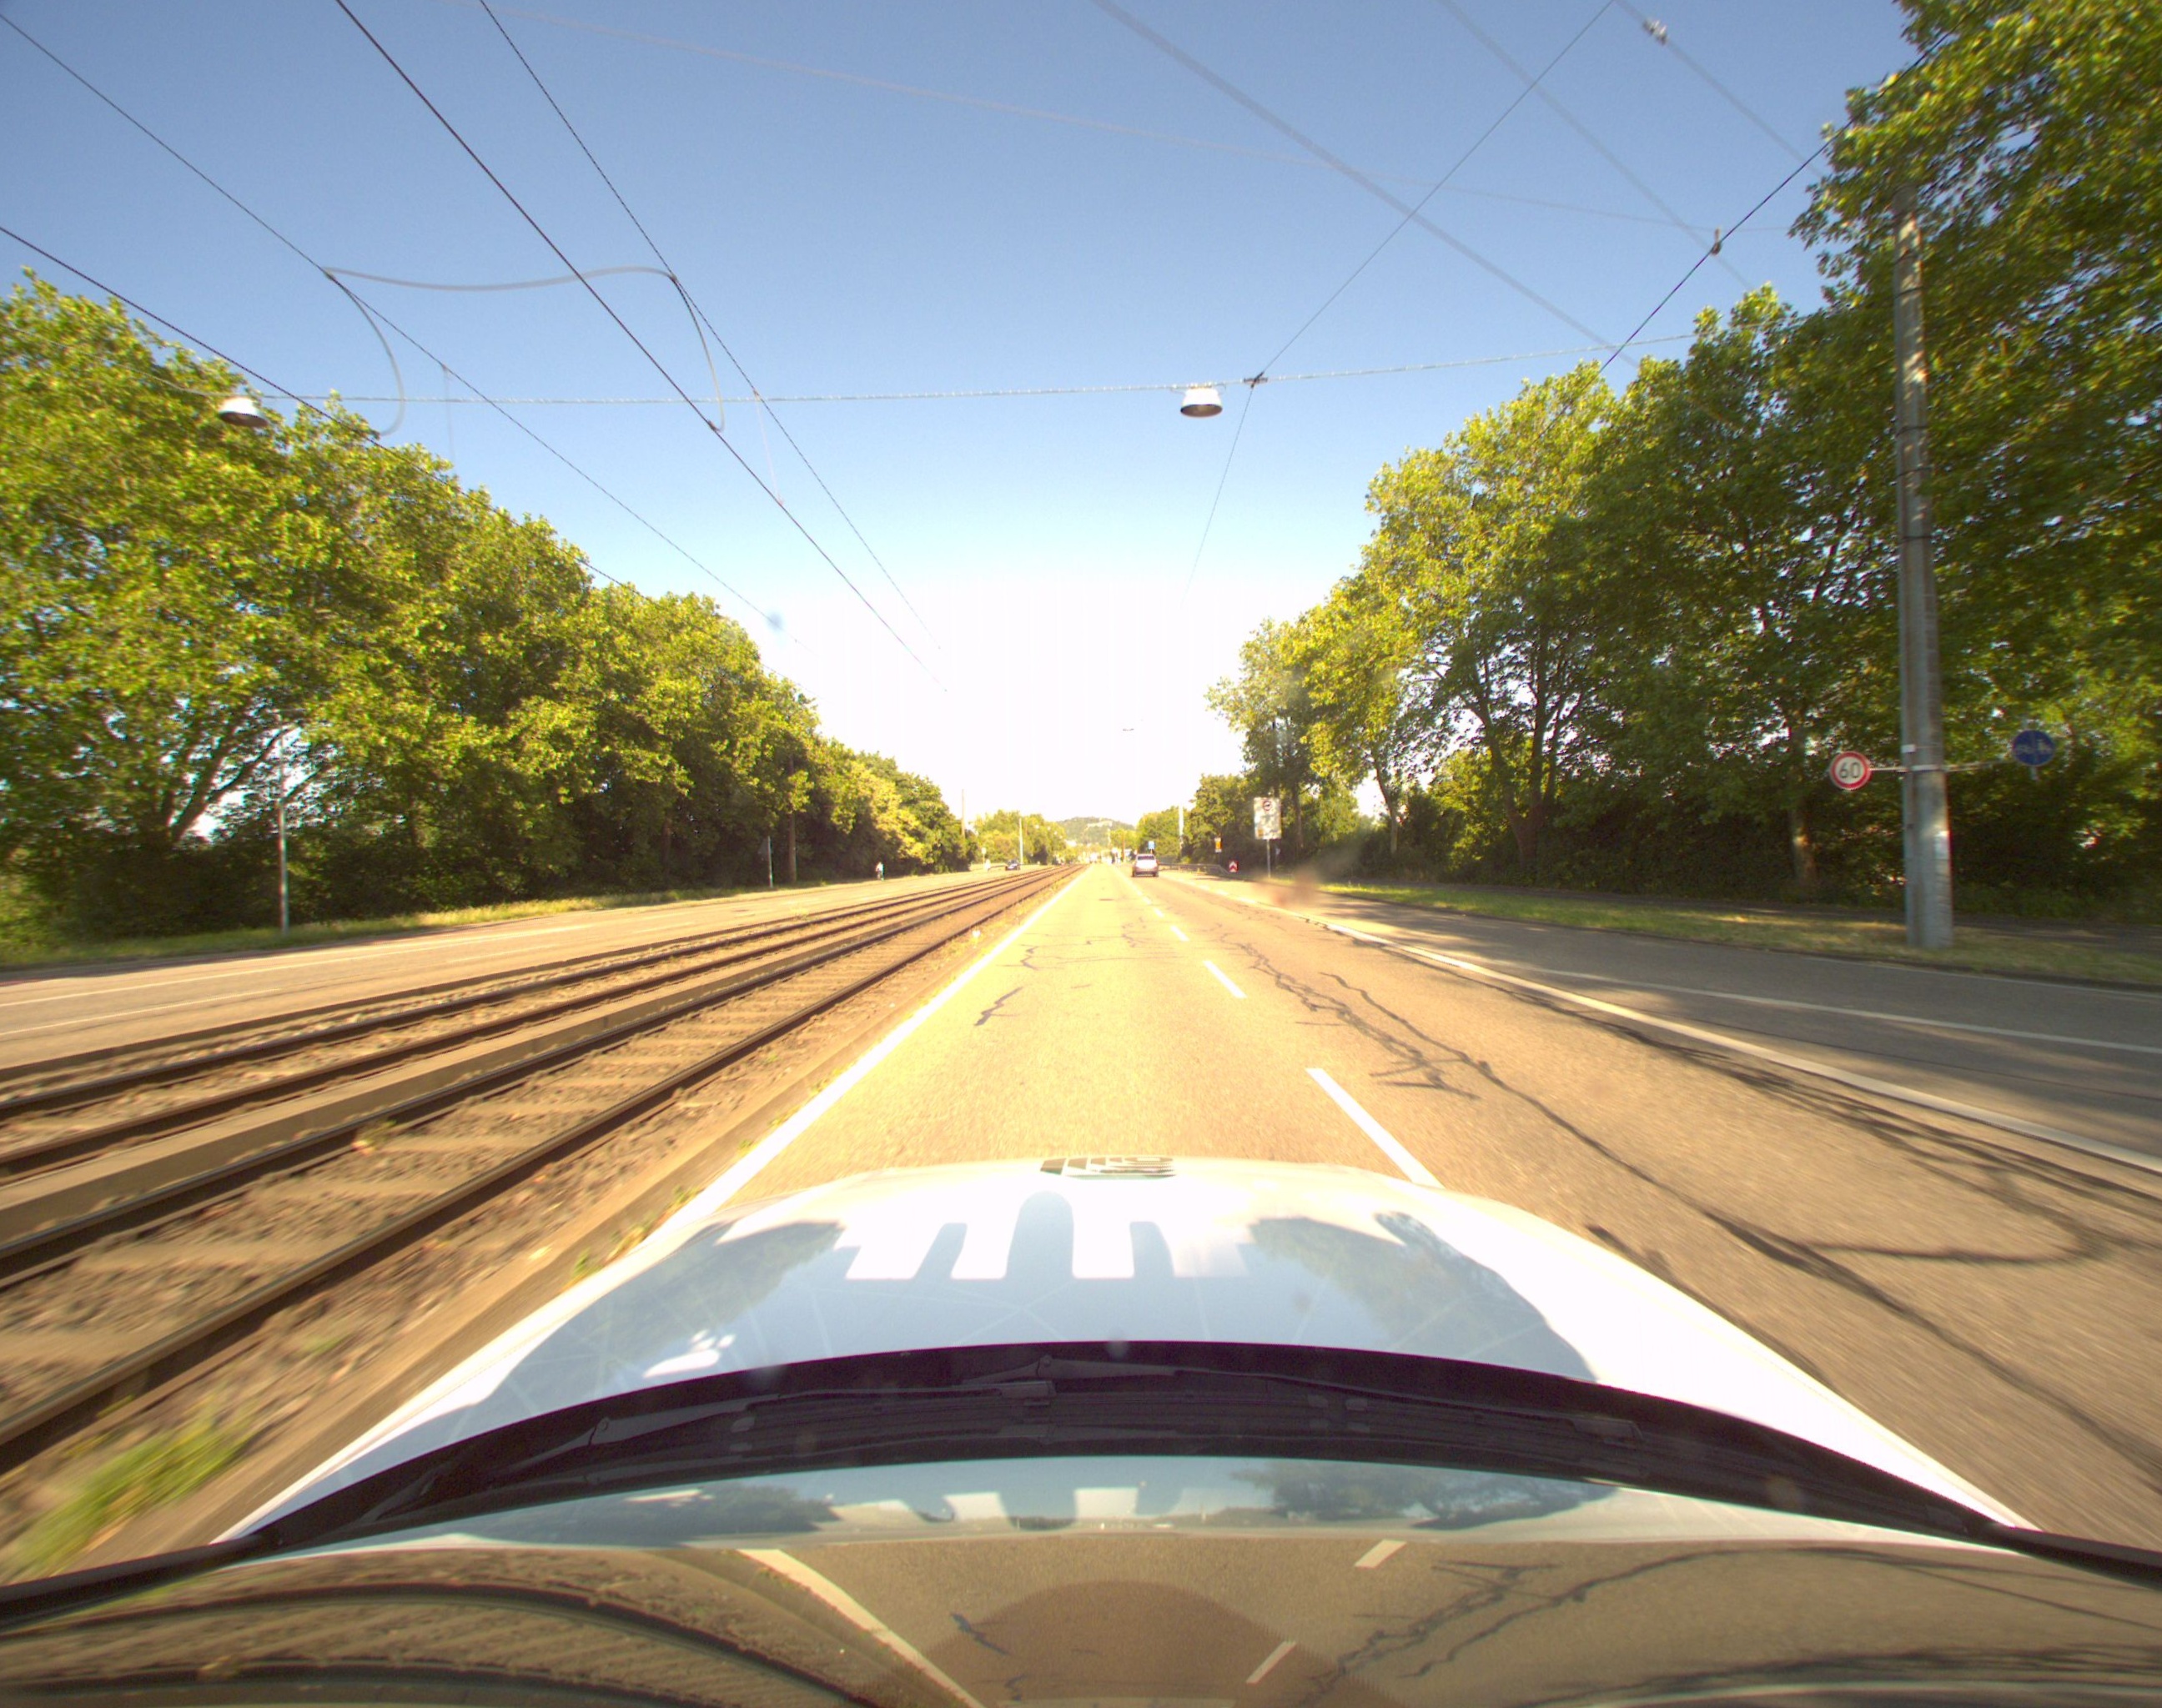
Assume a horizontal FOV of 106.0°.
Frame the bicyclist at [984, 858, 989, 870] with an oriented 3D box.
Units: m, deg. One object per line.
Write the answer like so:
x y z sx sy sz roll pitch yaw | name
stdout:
-13.211 1.382 113.349 0.505 1.687 0.920 0 -1 4 | bicyclist

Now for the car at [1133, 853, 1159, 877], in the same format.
4.837 0.784 60.823 1.880 1.693 4.261 -1 -1 4 | car

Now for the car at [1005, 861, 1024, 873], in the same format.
-9.890 1.894 121.662 1.984 1.685 4.801 -3 -1 5 | car

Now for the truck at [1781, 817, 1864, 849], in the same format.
93.260 -2.609 102.579 7.246 3.839 3.153 0 -1 32 | truck

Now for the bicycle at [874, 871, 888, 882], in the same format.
-17.480 1.959 71.194 0.548 0.986 2.241 0 -1 5 | bicycle

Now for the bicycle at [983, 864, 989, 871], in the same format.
-13.209 1.860 113.335 0.505 0.892 2.030 0 -1 5 | bicycle

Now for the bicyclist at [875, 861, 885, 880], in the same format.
-17.579 1.451 71.197 0.548 1.690 0.821 0 -1 5 | bicyclist
